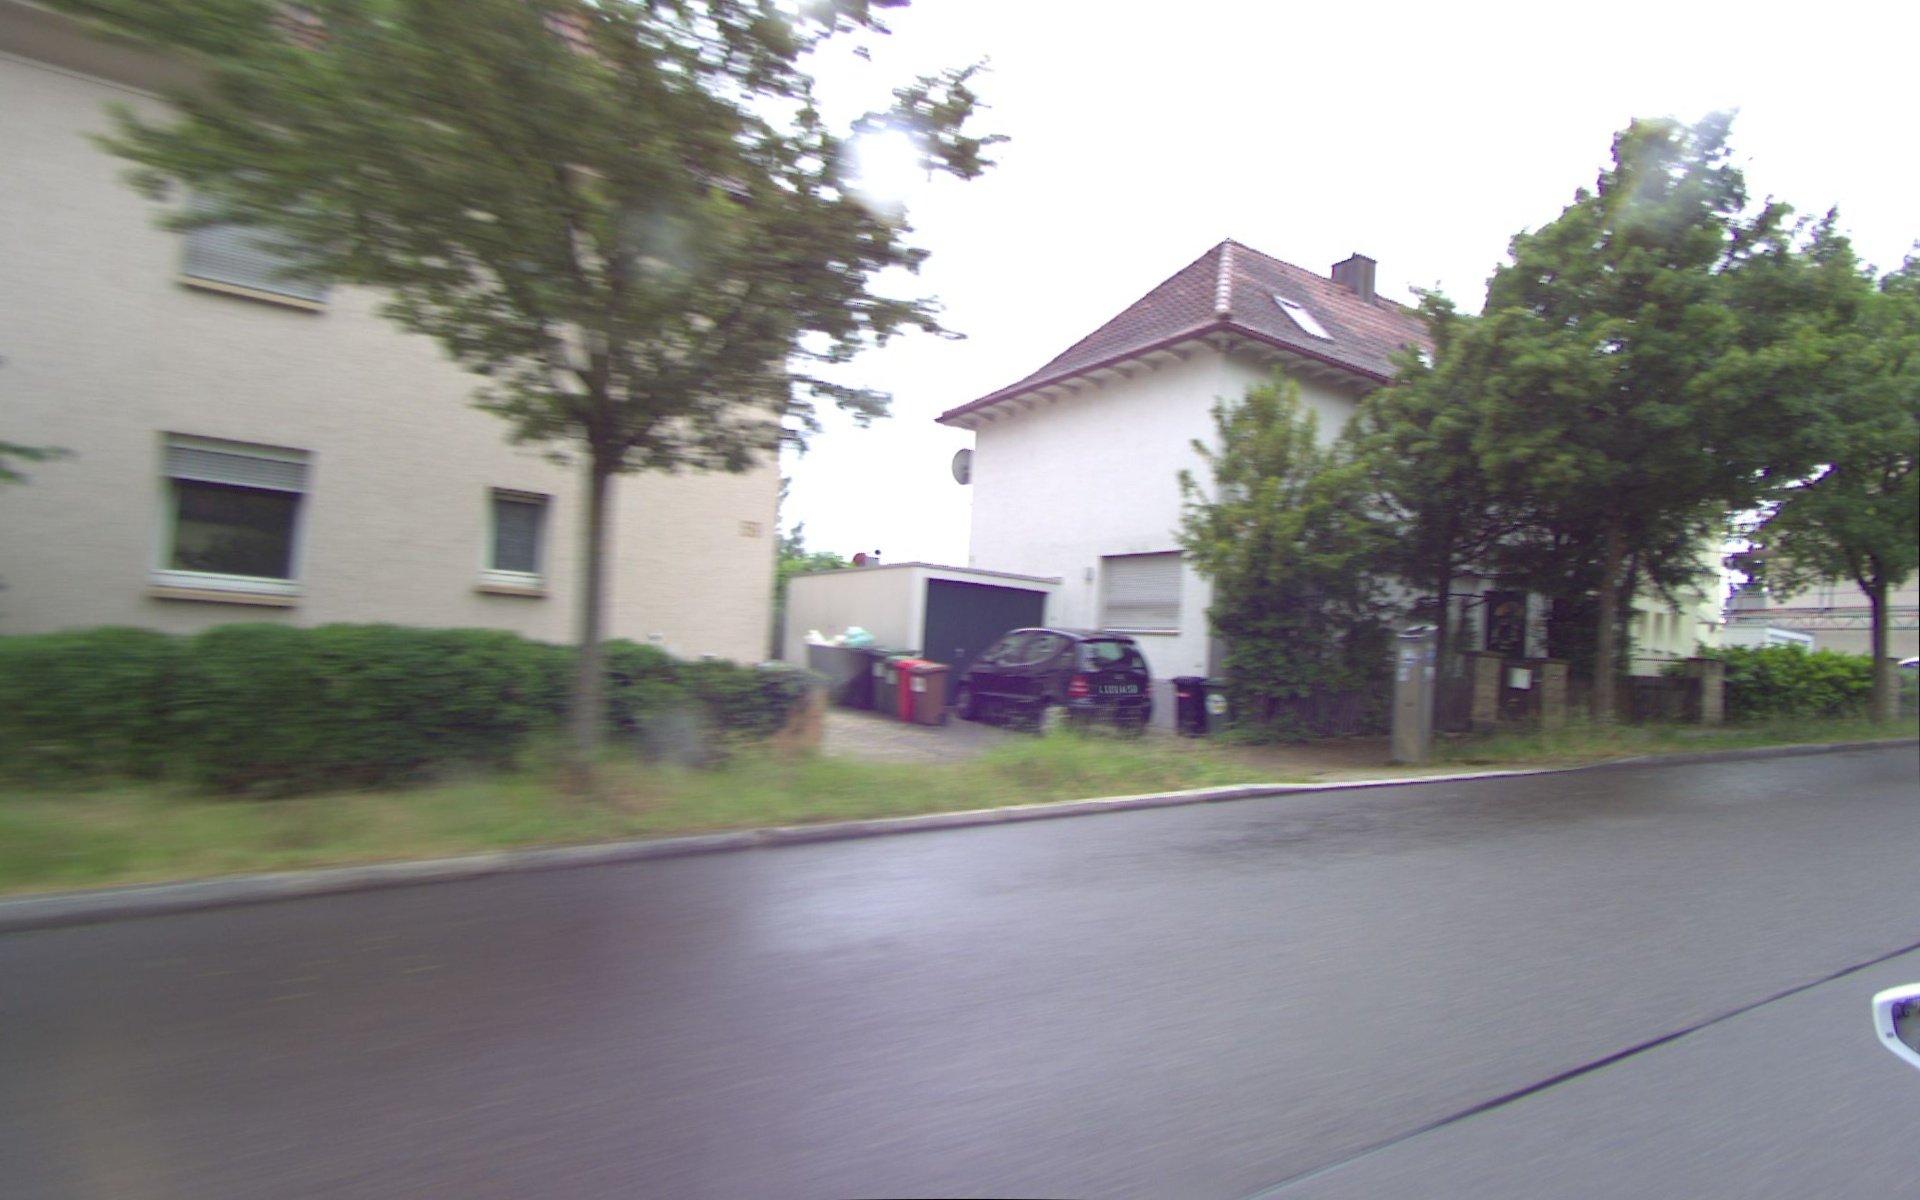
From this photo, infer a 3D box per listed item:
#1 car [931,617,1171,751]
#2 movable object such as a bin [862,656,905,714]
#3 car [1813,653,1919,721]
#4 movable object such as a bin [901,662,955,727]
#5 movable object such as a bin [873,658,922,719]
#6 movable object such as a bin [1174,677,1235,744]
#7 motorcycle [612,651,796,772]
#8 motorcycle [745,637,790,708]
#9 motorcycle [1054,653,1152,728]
[{"bbox_3d":[1.264,1.190,15.675,1.841,1.563,3.923,2,2,-28],"label":"car"},{"bbox_3d":[-1.286,1.416,16.854,0.548,0.933,0.507,2,0,-29],"label":"movable object such as a bin"},{"bbox_3d":[23.778,2.126,24.427,1.926,1.624,4.183,3,-6,-27],"label":"car"},{"bbox_3d":[-0.499,1.452,15.574,0.585,0.933,0.683,2,0,-29],"label":"movable object such as a bin"},{"bbox_3d":[-1.017,1.425,16.343,0.585,0.933,0.611,2,0,-29],"label":"movable object such as a bin"},{"bbox_3d":[3.711,1.669,15.275,0.585,0.933,0.666,2,0,-29],"label":"movable object such as a bin"},{"bbox_3d":[-2.981,1.260,11.775,1.949,1.265,0.727,1,0,-34],"label":"motorcycle"},{"bbox_3d":[-3.377,1.251,17.733,0.632,1.104,1.933,3,-1,-8],"label":"motorcycle"},{"bbox_3d":[2.443,1.540,17.359,0.753,1.117,1.696,3,-1,-31],"label":"motorcycle"}]
